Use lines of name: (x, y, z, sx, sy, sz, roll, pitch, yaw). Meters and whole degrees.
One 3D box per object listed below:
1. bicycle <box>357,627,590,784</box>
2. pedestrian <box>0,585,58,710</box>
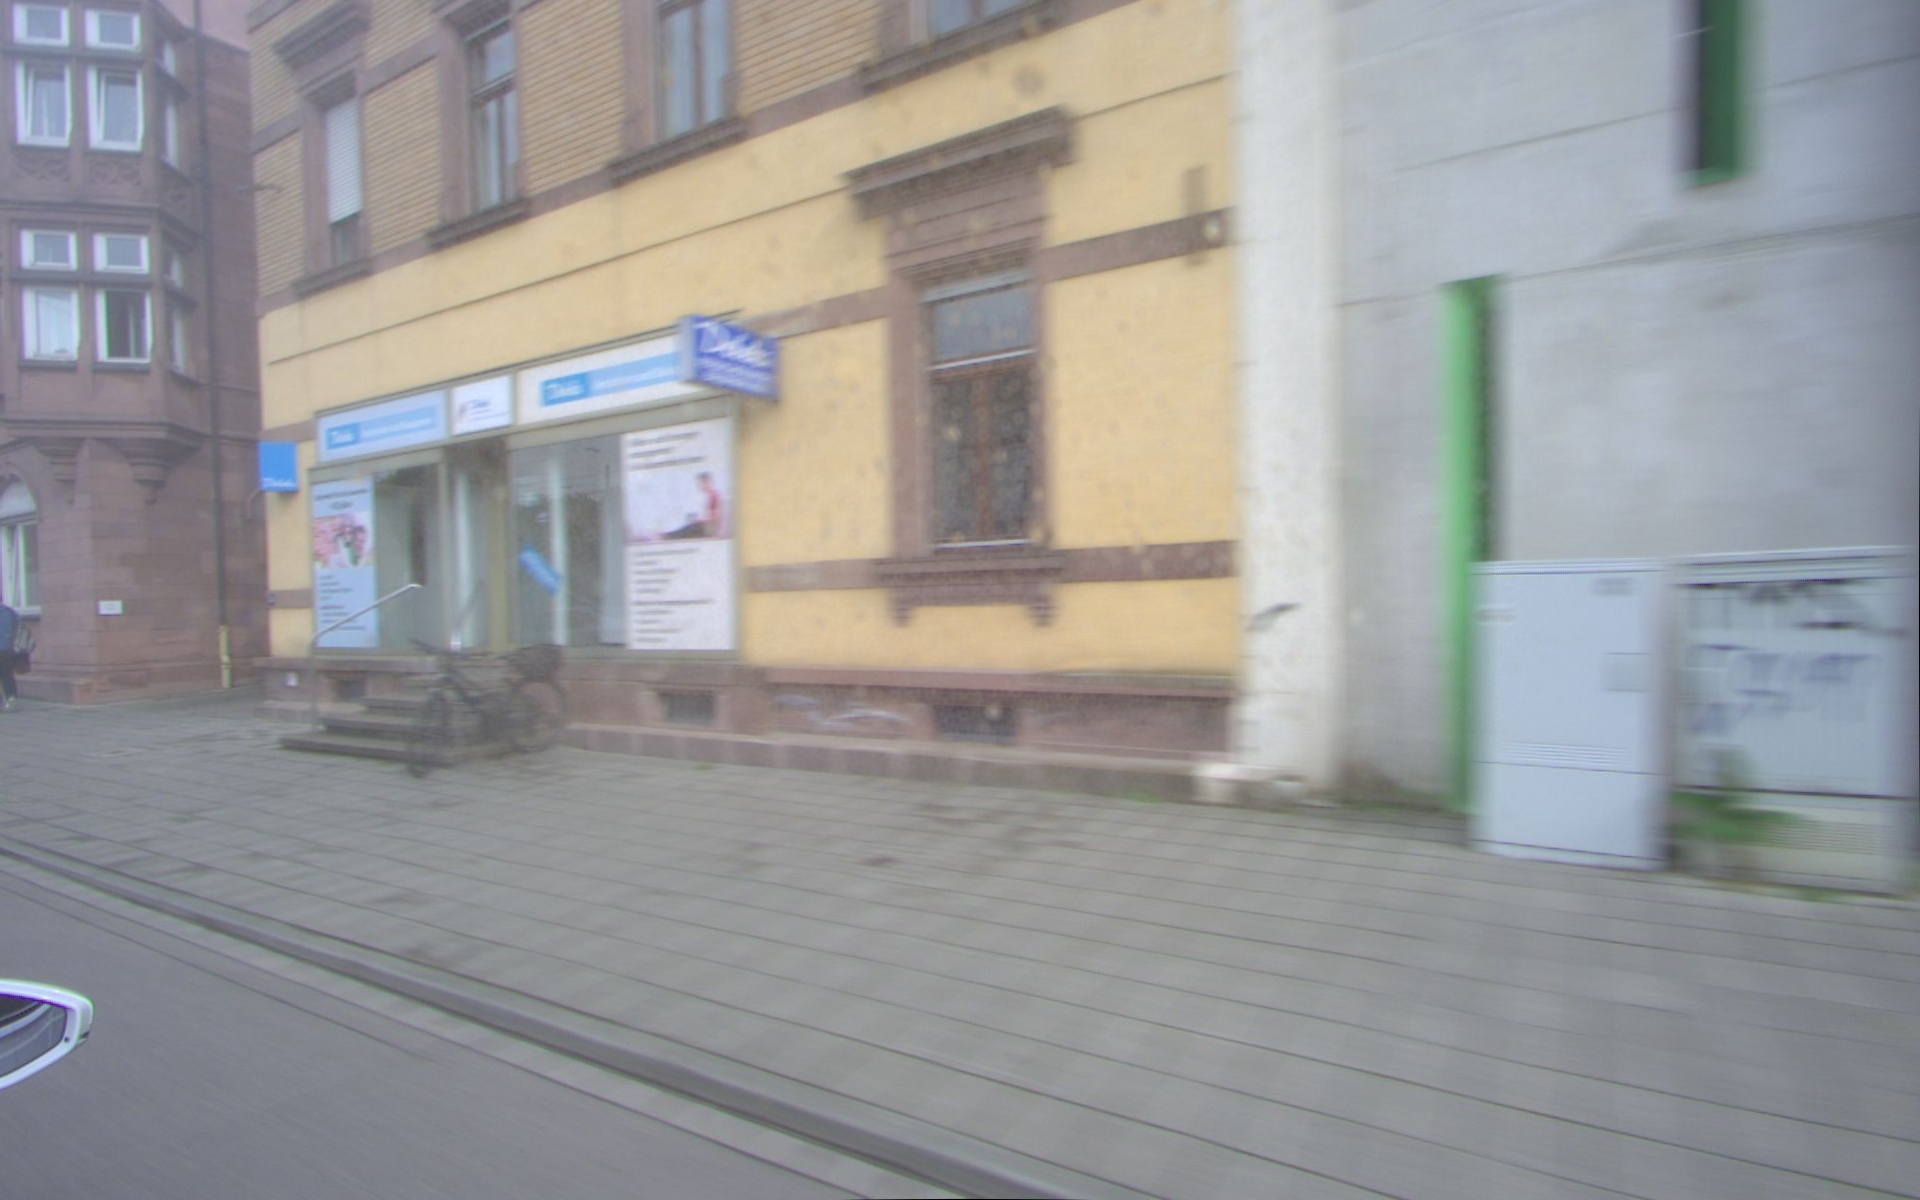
bicycle: (-4.282, 0.877, 8.969, 0.633, 1.145, 1.773, 0, 3, 31)
pedestrian: (-14.827, 0.724, 15.514, 0.961, 1.876, 0.958, 0, 3, 32)
